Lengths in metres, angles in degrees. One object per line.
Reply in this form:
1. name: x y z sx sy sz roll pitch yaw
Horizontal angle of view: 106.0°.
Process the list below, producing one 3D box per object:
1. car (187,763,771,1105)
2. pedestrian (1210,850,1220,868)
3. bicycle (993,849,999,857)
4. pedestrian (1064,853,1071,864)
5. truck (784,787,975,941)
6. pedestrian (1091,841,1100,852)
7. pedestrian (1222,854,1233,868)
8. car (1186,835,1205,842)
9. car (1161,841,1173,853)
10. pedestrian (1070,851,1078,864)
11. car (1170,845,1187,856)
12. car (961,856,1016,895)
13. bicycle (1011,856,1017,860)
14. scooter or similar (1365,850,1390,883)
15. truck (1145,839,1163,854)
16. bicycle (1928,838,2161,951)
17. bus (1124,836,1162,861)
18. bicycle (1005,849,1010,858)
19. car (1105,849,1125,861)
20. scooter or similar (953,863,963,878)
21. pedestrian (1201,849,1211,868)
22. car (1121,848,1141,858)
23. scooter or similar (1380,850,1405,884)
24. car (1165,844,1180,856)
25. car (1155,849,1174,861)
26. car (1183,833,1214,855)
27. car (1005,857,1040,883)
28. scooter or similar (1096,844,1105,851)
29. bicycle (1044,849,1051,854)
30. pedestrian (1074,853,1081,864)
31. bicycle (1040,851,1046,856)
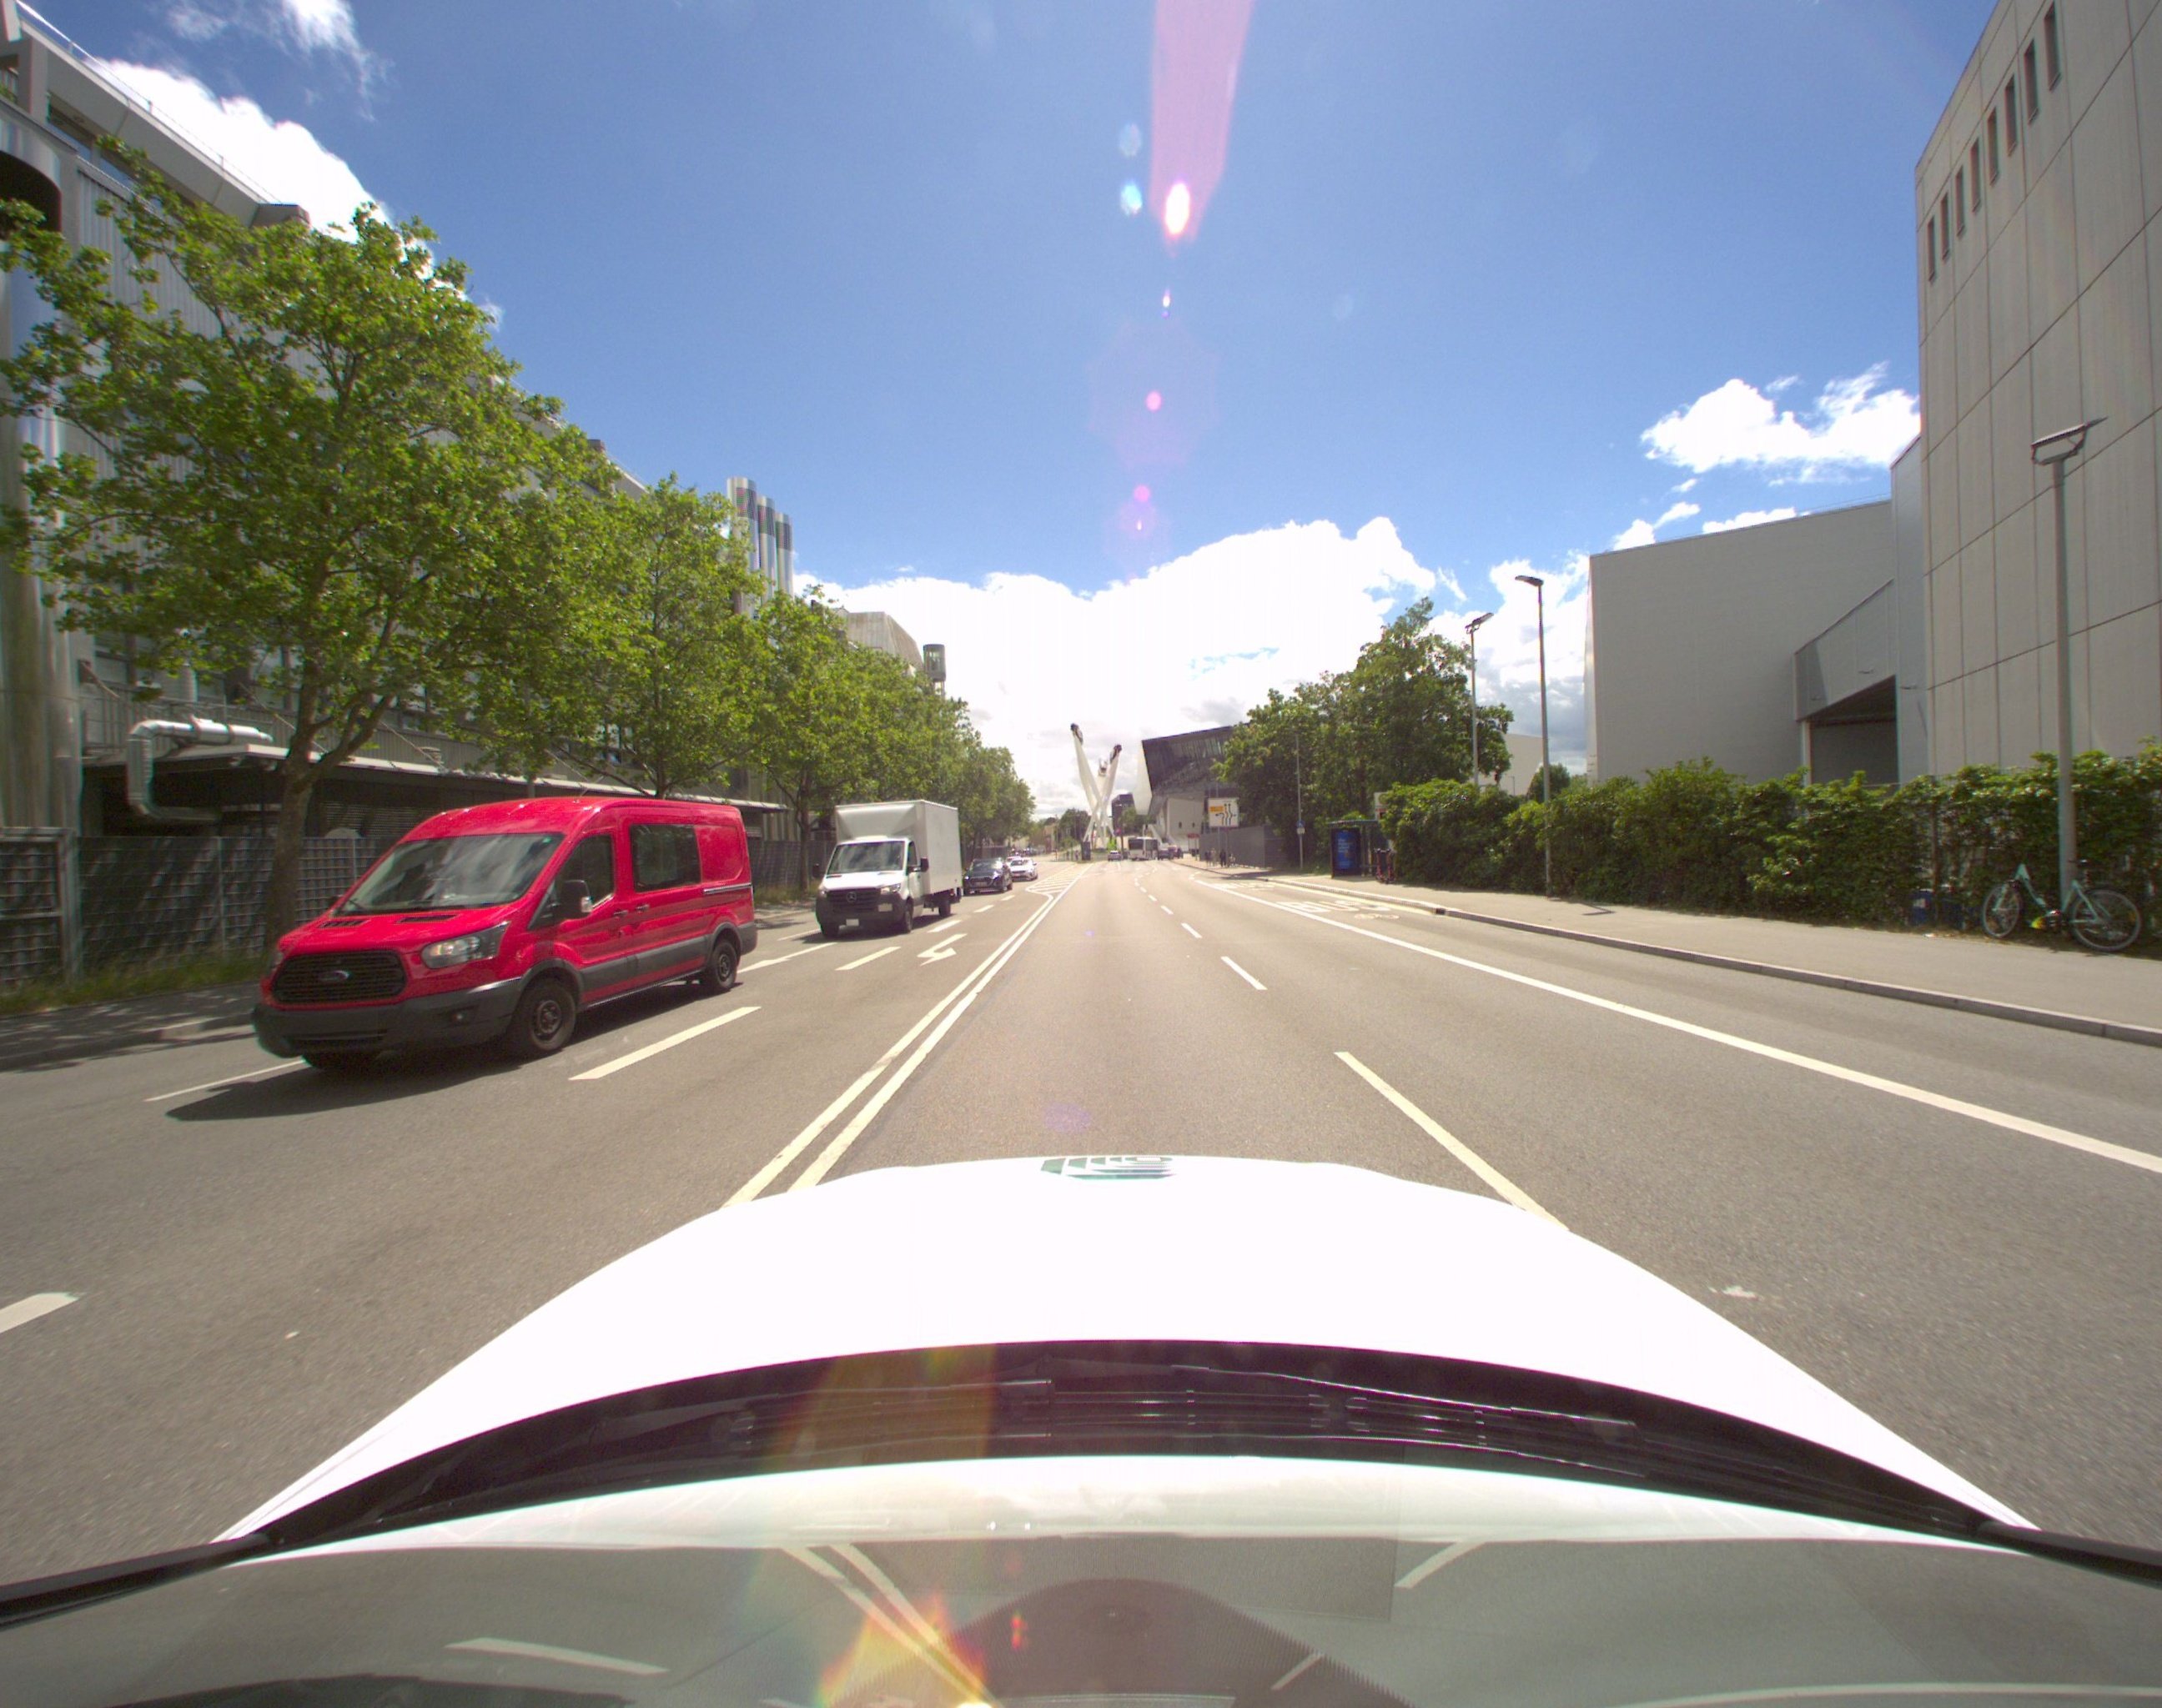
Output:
1. car: -5.675 0.619 8.984 2.055 2.507 5.483 -3 0 3
2. pedestrian: 12.071 0.410 73.225 0.791 1.597 0.732 -1 -1 1
3. bicycle: -10.528 -0.113 100.944 0.294 1.006 1.256 -1 -1 13
4. pedestrian: -2.140 0.753 130.865 0.864 1.774 1.031 0 -1 -11
5. truck: -4.812 0.222 21.100 2.441 3.128 7.251 -4 0 4
6. pedestrian: 2.638 -1.434 147.803 1.283 1.816 0.983 -6 4 -12
7. pedestrian: 12.303 0.584 68.411 0.754 1.148 0.973 -1 -1 5
8. car: 28.324 -3.855 201.539 2.011 1.394 4.461 -7 10 -41
9. car: 16.532 -1.262 156.727 1.981 2.171 4.669 -1 -1 11
10. pedestrian: -1.176 0.595 129.650 0.944 2.055 0.956 -1 -1 21
11. car: 14.978 -0.481 124.852 1.979 1.636 4.016 -1 -1 15
12. car: -4.167 0.946 37.358 1.733 1.581 4.270 -4 0 3
13. bicycle: -15.868 0.968 192.389 1.590 0.866 0.496 -1 -1 36
14. scooter or similar: 11.294 0.445 30.988 0.536 1.163 2.141 -3 0 29
15. truck: 12.657 -1.344 141.313 2.191 2.516 5.153 -1 -1 15
16. bicycle: 11.534 0.429 9.668 0.441 1.180 2.470 -1 -1 2
17. bus: 9.192 -0.720 119.407 3.048 3.362 12.274 -1 -1 16
18. bicycle: -9.696 -0.040 107.354 0.295 1.131 1.487 -1 -1 5
19. car: 4.835 0.200 115.412 1.979 1.636 4.016 -1 -1 15
20. scooter or similar: -10.458 1.365 69.204 0.520 1.234 1.319 1 1 4
21. pedestrian: 11.271 0.395 73.290 0.791 1.721 0.732 -1 -1 1
22. car: 7.719 -0.137 126.538 1.977 1.636 4.020 -1 -1 21
23. scooter or similar: 11.368 0.446 29.723 0.536 1.163 1.803 -3 0 29
24. car: 15.721 -0.709 139.805 1.979 1.932 4.257 -1 -1 15
25. car: 12.050 0.138 117.536 1.979 1.636 4.017 -1 1 15
26. car: 20.407 -1.698 141.078 3.307 3.504 9.390 -1 -1 21
27. car: -3.643 0.977 51.408 1.685 1.415 4.148 -4 0 2
28. scooter or similar: 3.511 -1.141 147.899 1.400 1.025 0.548 -5 6 -9
29. bicycle: -8.657 -0.578 207.741 1.731 1.182 0.670 -1 1 1
30. pedestrian: -0.544 0.690 126.768 0.864 1.774 1.031 0 -1 -11
31. bicycle: -9.251 -0.089 198.665 1.600 1.316 0.493 -1 -1 1
